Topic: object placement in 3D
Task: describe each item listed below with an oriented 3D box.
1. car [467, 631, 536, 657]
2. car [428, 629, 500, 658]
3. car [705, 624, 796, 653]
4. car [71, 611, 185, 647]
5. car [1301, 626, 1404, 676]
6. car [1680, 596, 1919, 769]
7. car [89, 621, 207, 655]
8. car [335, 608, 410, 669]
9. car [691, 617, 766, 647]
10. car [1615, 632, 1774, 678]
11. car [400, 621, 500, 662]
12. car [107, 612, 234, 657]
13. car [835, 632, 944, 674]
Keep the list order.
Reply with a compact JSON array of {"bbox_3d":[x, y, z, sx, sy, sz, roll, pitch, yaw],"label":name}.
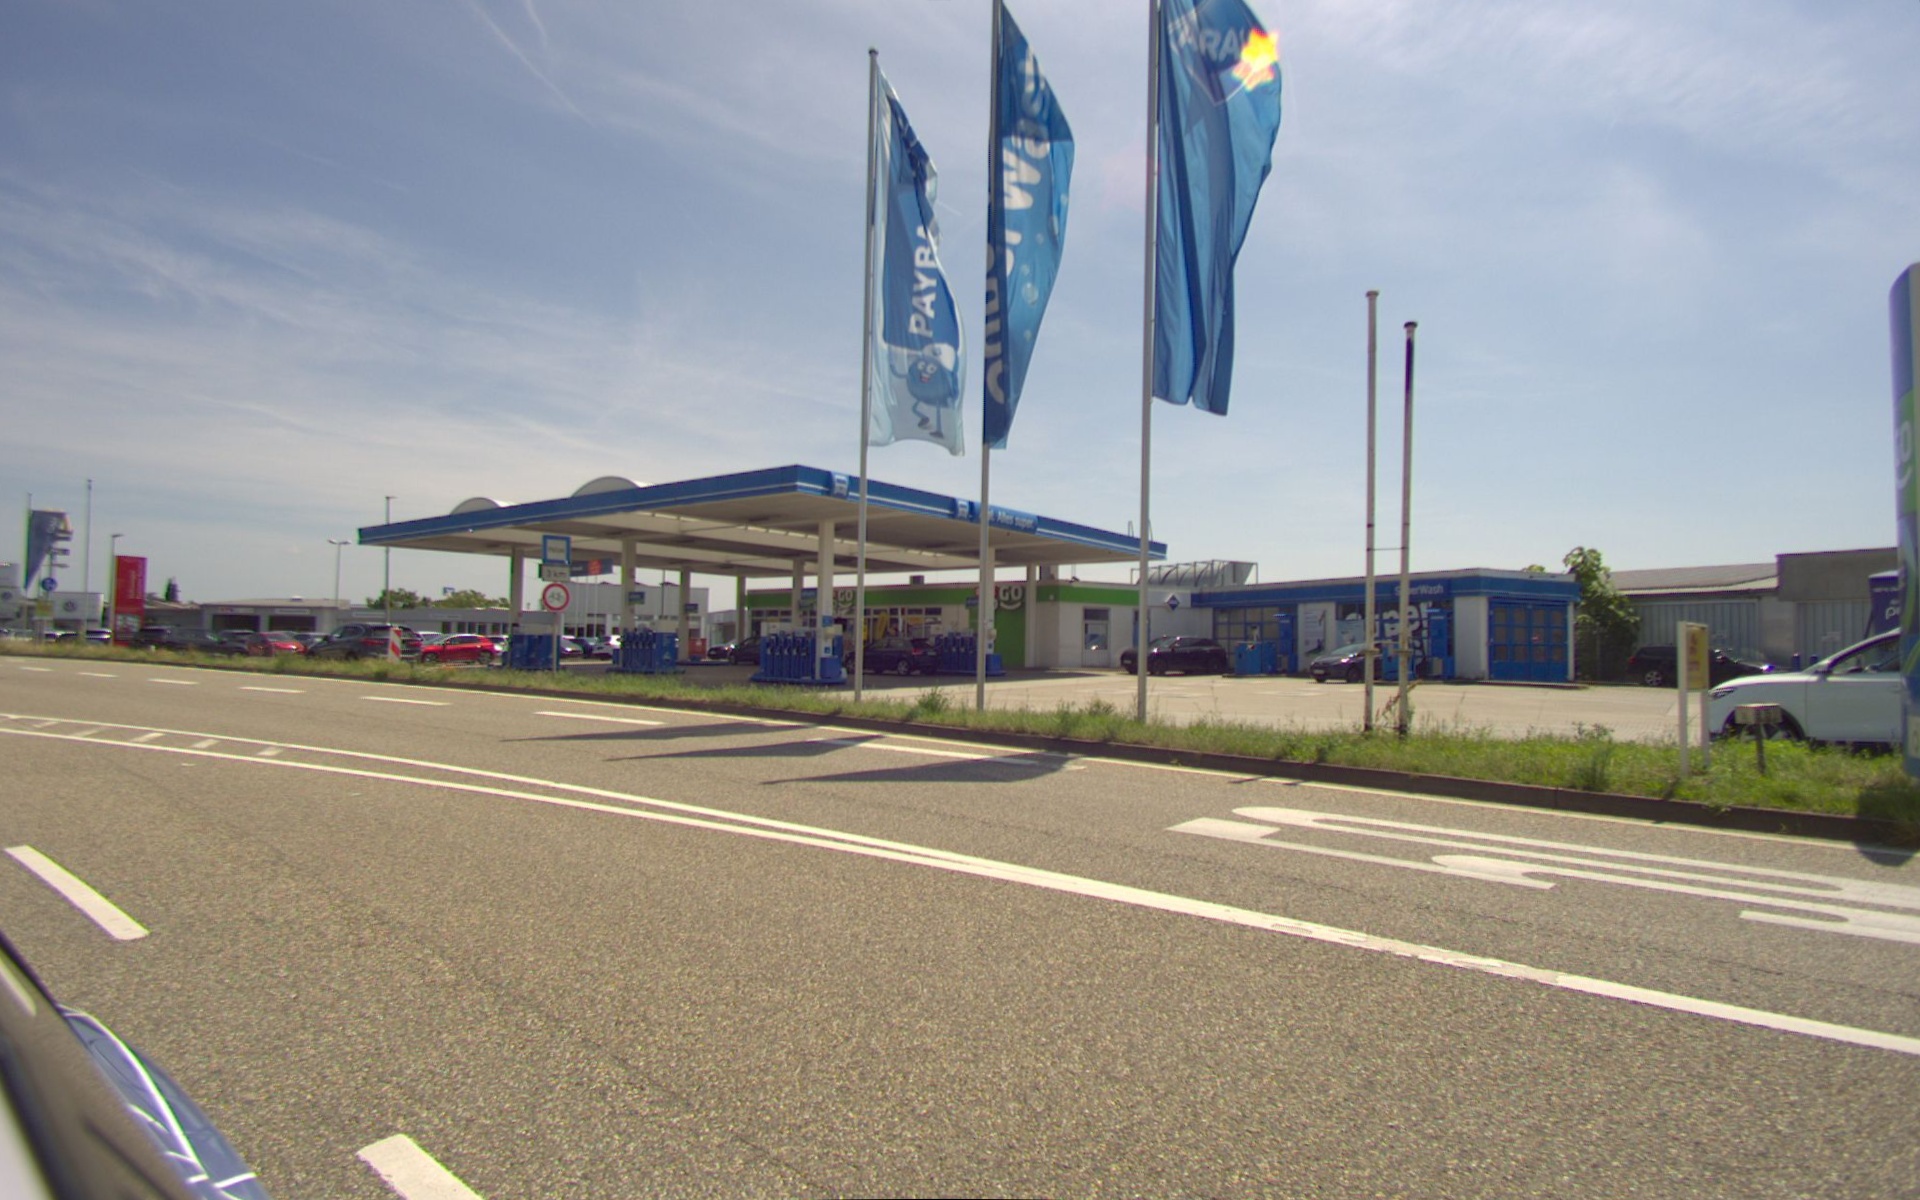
[{"bbox_3d":[-26.168,2.480,57.729,3.987,1.406,1.693,-1,-3,32],"label":"car"},{"bbox_3d":[-27.371,2.389,55.844,3.987,1.547,1.693,-1,-3,32],"label":"car"},{"bbox_3d":[-10.246,1.880,49.453,4.376,1.389,1.975,-1,-3,38],"label":"car"},{"bbox_3d":[-39.099,1.399,47.709,1.759,1.598,4.178,0,-2,3],"label":"car"},{"bbox_3d":[13.770,1.778,35.408,1.948,1.619,3.941,-2,-4,45],"label":"car"},{"bbox_3d":[10.398,0.844,10.454,1.836,1.725,4.534,1,-1,-22],"label":"car"},{"bbox_3d":[-36.871,1.732,46.090,1.800,1.497,3.986,0,-2,10],"label":"car"},{"bbox_3d":[-17.958,1.177,30.967,1.803,1.732,4.583,2,-3,-30],"label":"car"},{"bbox_3d":[-13.297,1.873,58.368,1.944,1.652,3.952,-1,-3,35],"label":"car"},{"bbox_3d":[24.341,1.806,33.695,1.729,1.453,3.912,2,-3,-28],"label":"car"},{"bbox_3d":[-25.476,2.073,50.655,1.996,1.918,3.950,-1,-3,36],"label":"car"},{"bbox_3d":[-32.679,1.429,42.043,1.821,1.717,3.990,1,-2,8],"label":"car"},{"bbox_3d":[-2.667,1.960,37.869,4.101,1.489,1.586,-1,-3,38],"label":"car"}]
